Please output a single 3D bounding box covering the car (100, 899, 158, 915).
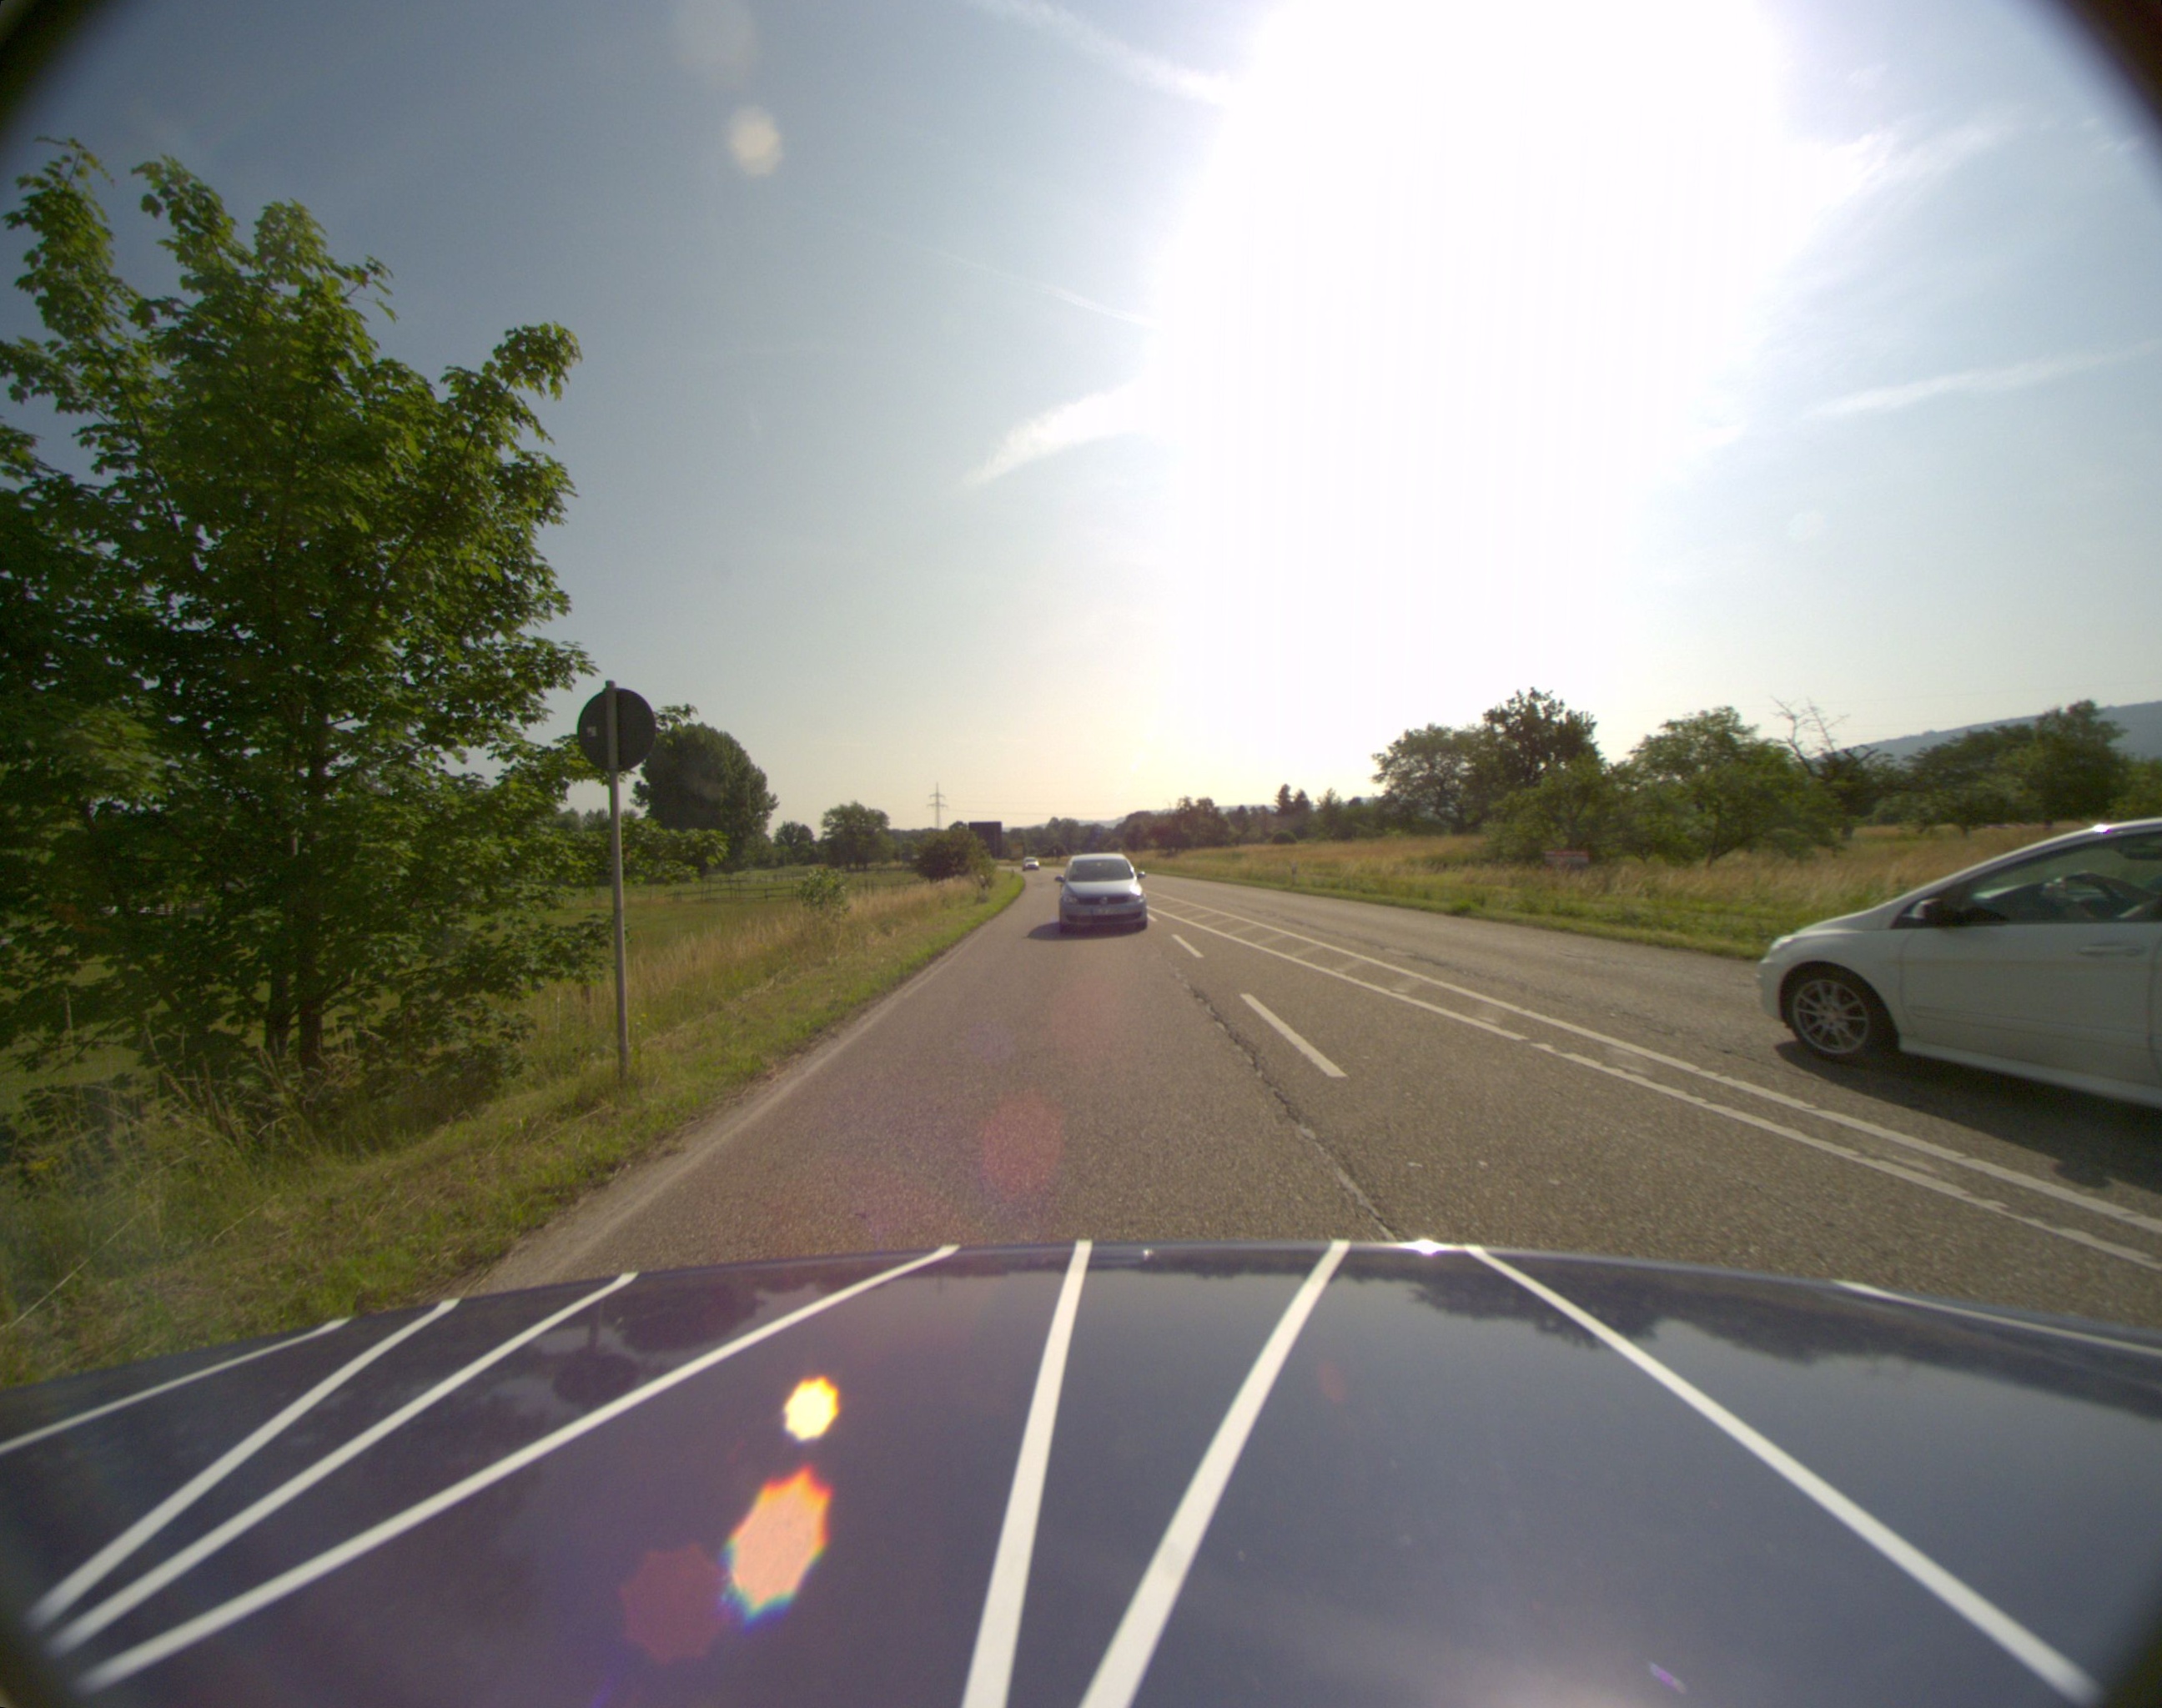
[{"bbox_3d":[-75.314,4.176,60.158,1.229,0.999,3.048,-3,1,-15],"label":"car"}]

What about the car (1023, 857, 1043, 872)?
[{"bbox_3d":[-5.714,1.235,90.113,2.000,1.571,3.905,-3,1,-9],"label":"car"}]

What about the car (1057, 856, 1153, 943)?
[{"bbox_3d":[0.466,0.868,16.404,1.718,1.495,4.093,-4,0,0],"label":"car"}]

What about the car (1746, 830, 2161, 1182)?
[{"bbox_3d":[5.747,0.670,3.398,1.817,1.576,4.223,-1,0,-1],"label":"car"}]
